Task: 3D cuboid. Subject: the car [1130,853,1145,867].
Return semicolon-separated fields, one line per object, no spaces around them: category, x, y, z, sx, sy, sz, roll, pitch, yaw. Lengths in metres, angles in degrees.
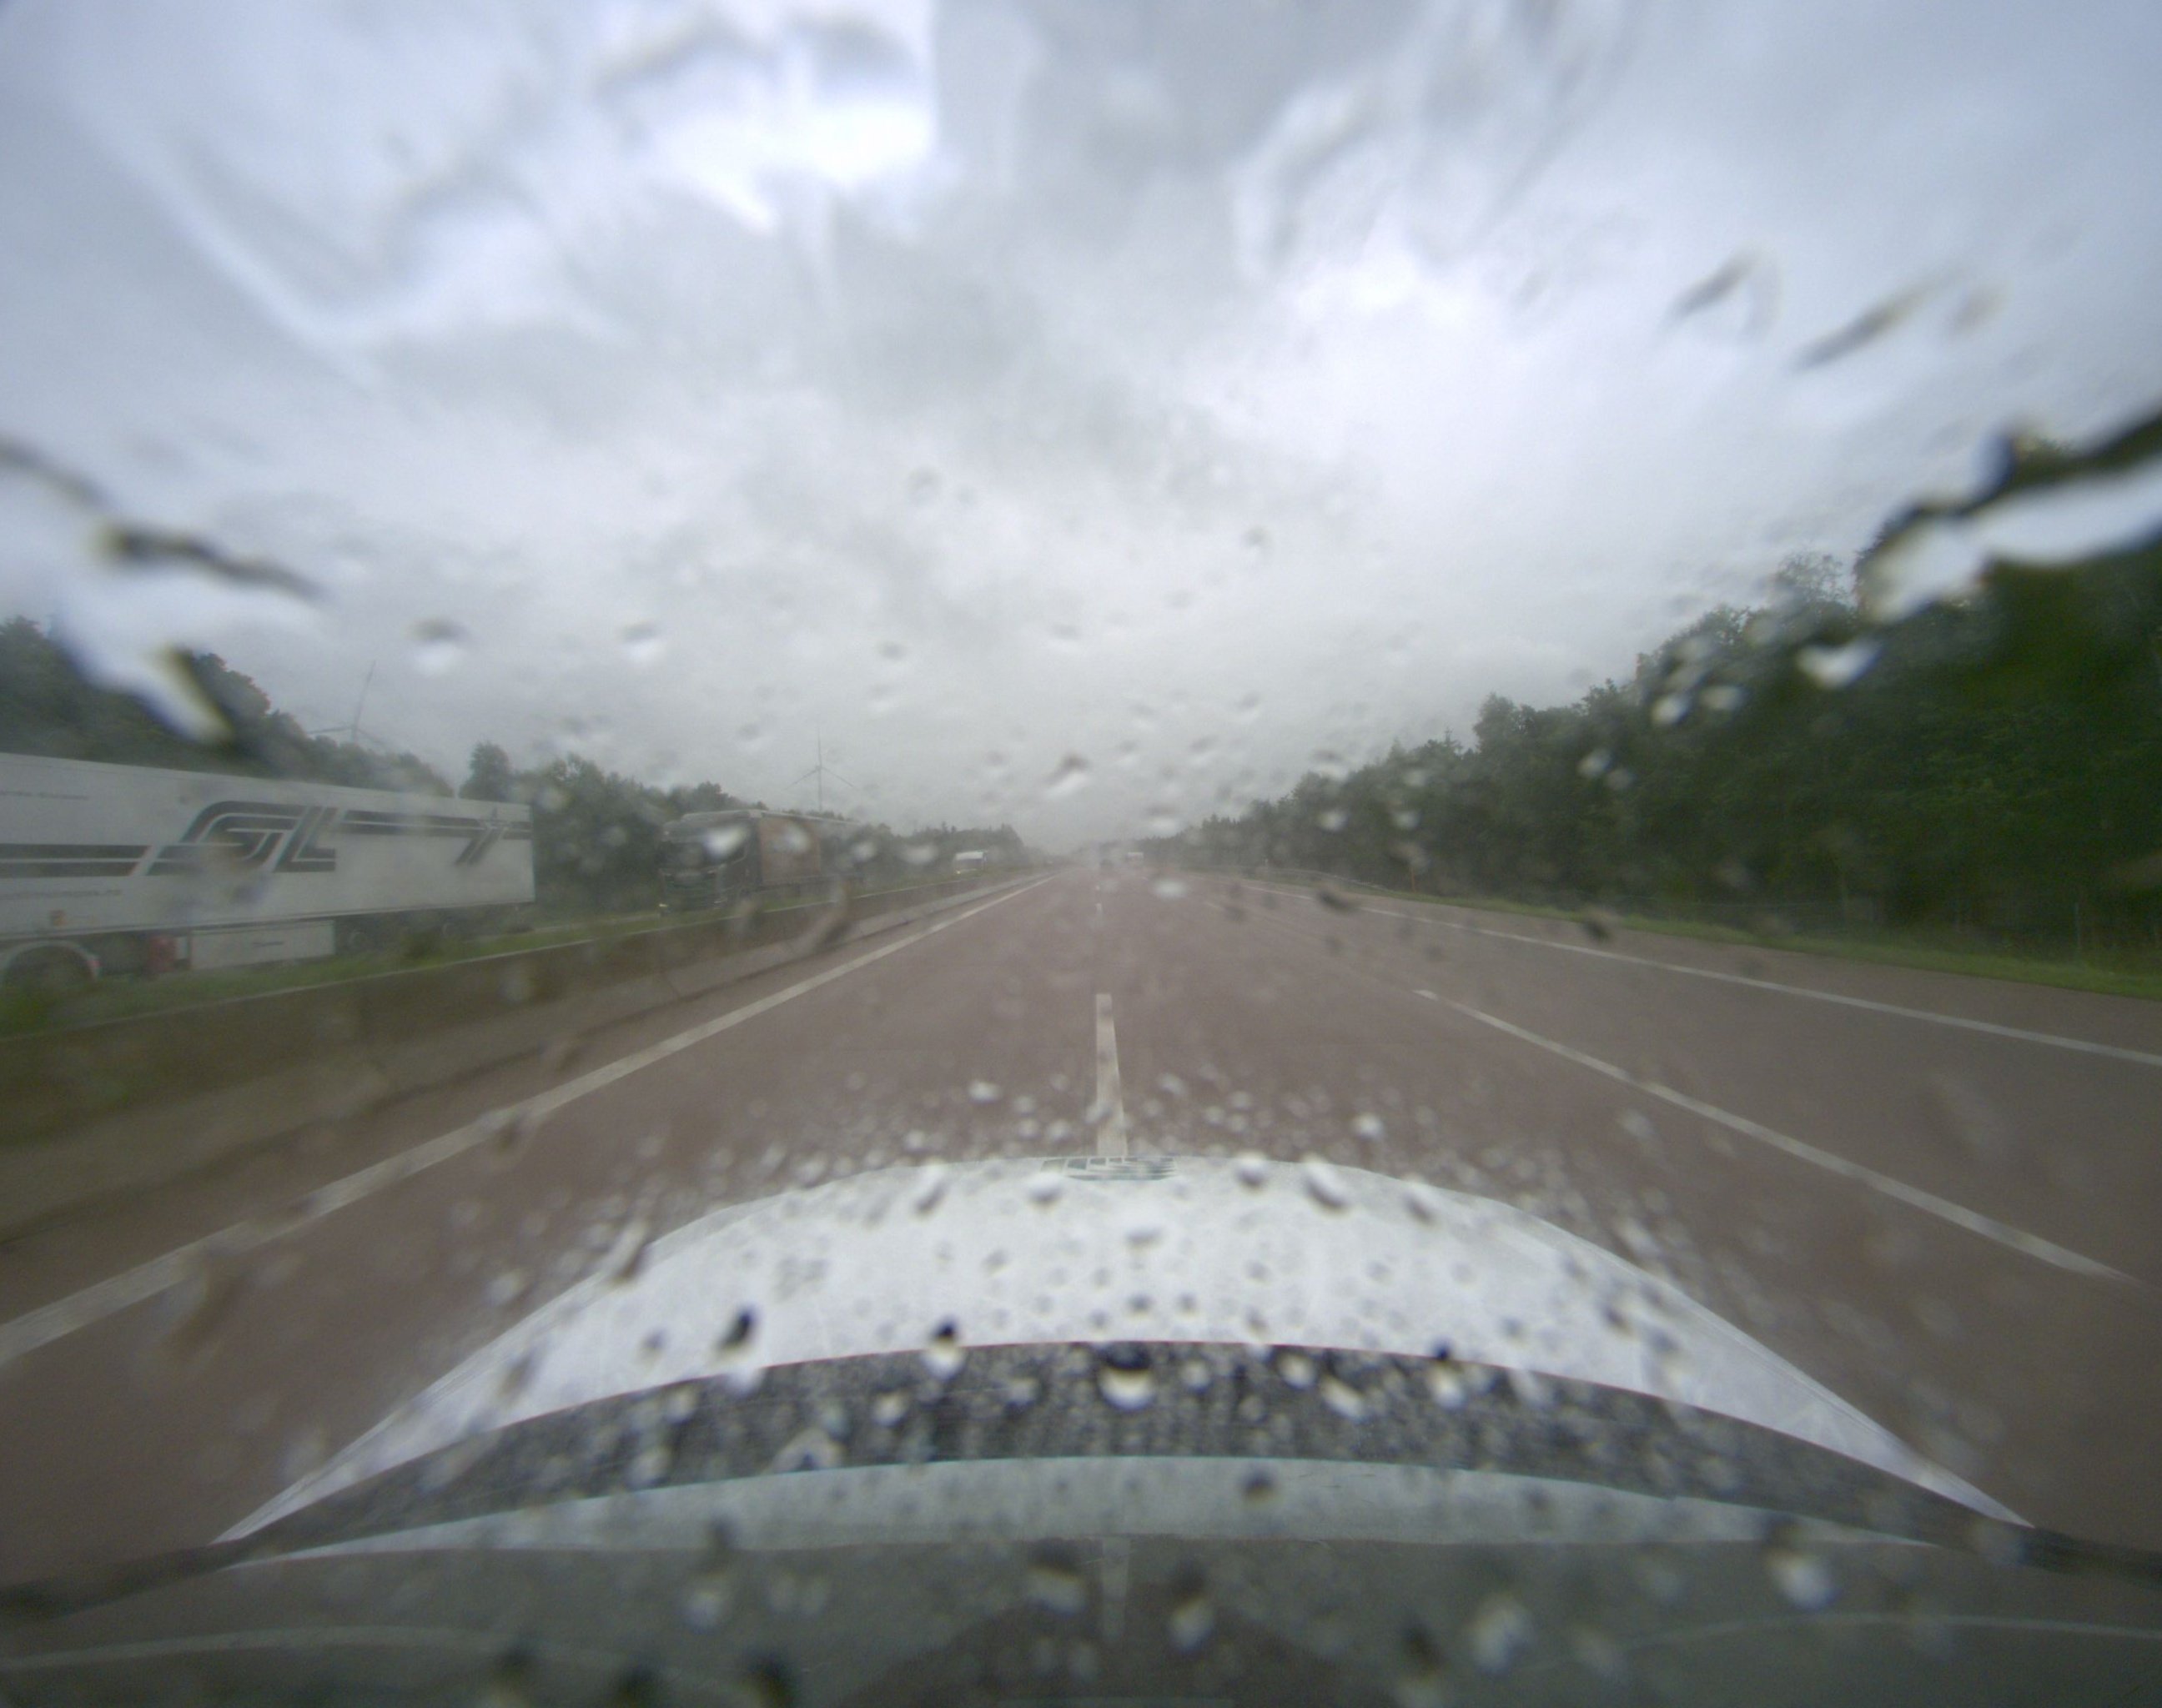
car;8.405;0.855;121.662;2.050;1.999;4.100;2;0;2

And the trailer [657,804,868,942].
trailer;-13.579;0.741;37.049;3.978;5.059;14.234;0;0;0

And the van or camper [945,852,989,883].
van or camper;-9.755;1.119;70.216;2.781;2.405;6.488;-3;0;0

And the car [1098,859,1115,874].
car;3.556;1.672;113.543;2.165;1.981;4.131;2;0;2

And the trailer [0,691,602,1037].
trailer;-17.777;0.206;19.915;3.418;5.441;14.239;0;0;1

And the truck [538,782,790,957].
truck;-13.666;0.479;28.037;3.911;5.015;8.953;0;0;1

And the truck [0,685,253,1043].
truck;-17.967;0.162;11.836;3.407;5.379;8.158;0;0;1
